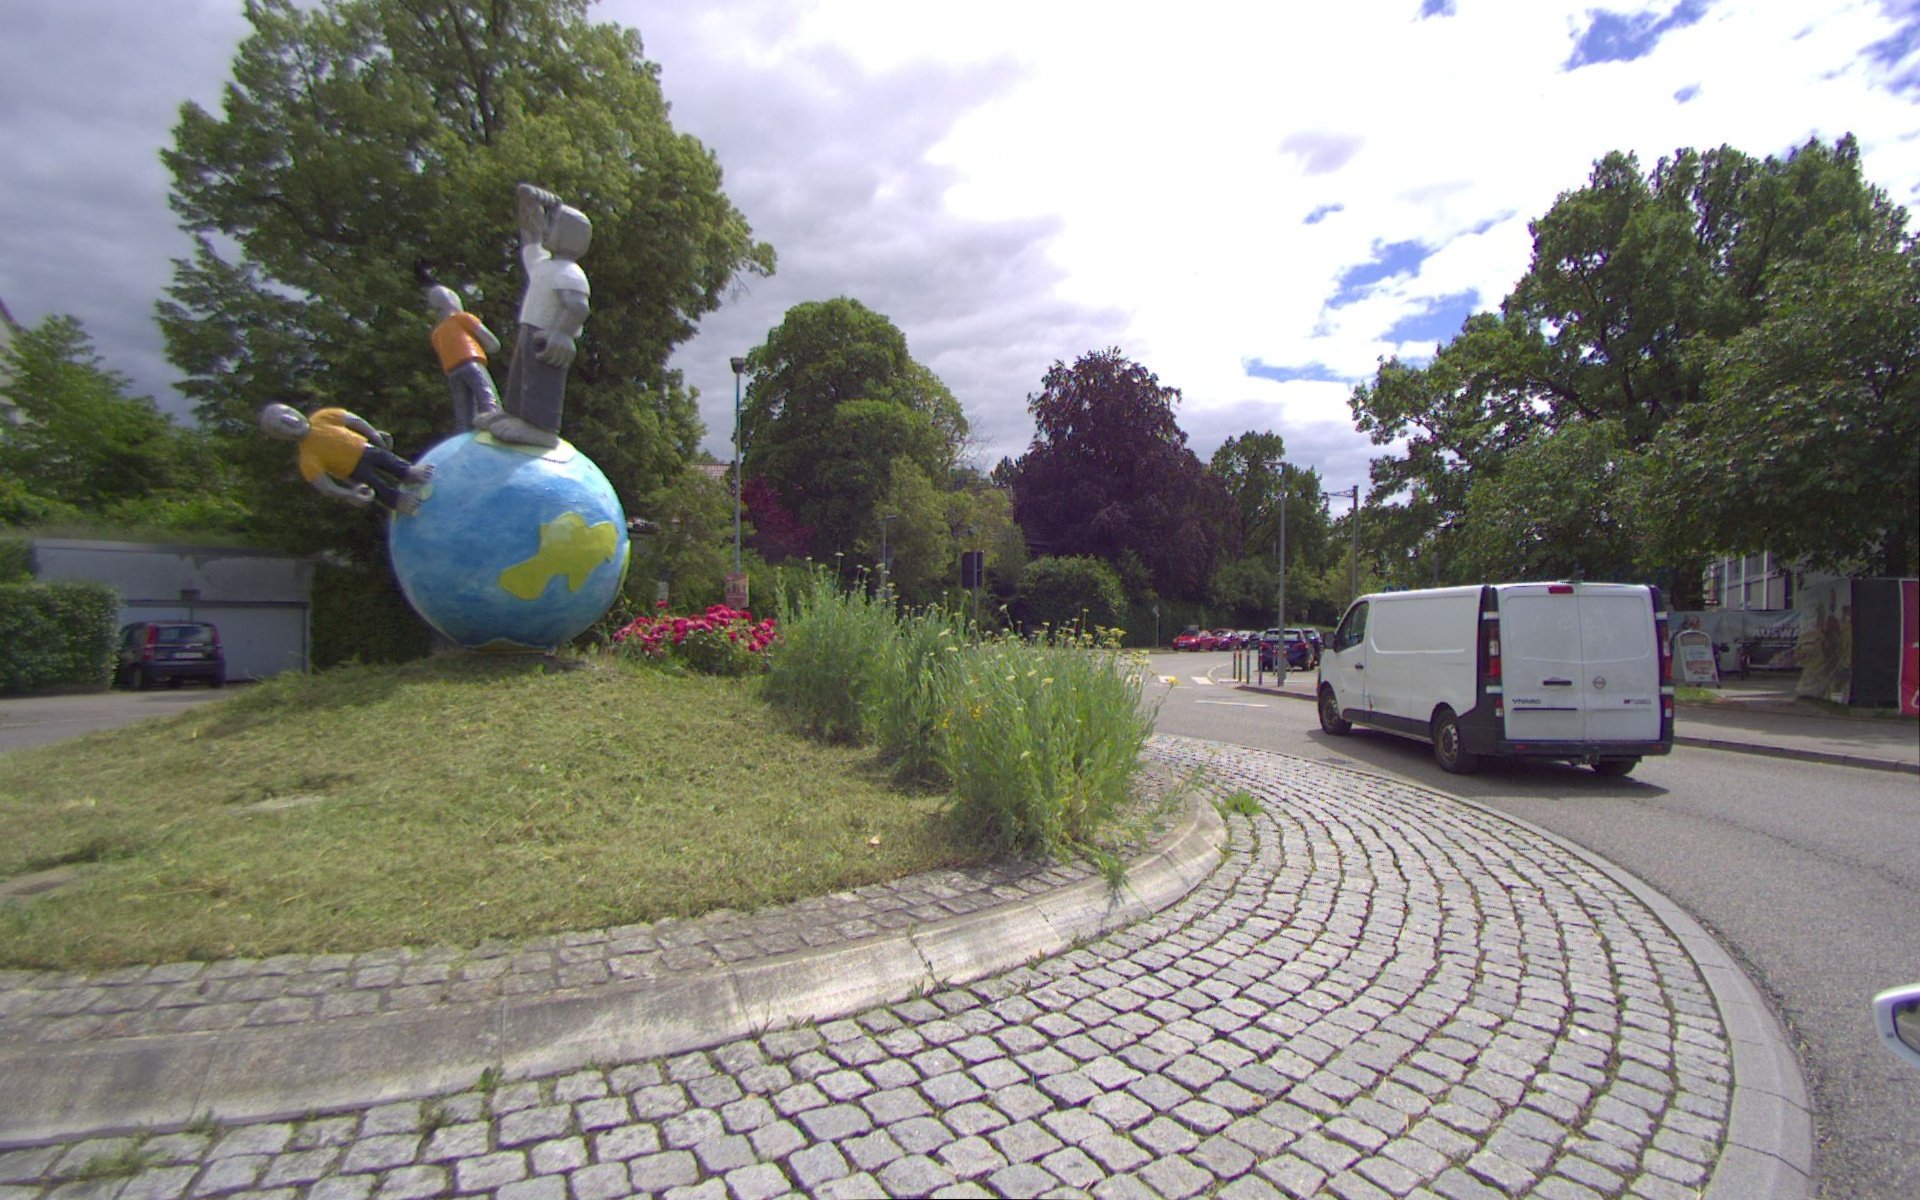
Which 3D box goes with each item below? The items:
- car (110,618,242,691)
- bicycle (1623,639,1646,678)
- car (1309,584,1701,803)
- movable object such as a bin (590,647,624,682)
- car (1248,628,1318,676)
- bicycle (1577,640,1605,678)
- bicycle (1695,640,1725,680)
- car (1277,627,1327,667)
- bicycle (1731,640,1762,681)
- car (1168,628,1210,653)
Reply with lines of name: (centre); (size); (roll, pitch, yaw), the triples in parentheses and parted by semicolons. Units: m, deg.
car: (-17.969, 1.181, 22.959); (1.987, 1.505, 3.948); (1, -2, -44)
bicycle: (20.754, 1.780, 30.914); (0.522, 1.109, 2.065); (2, 1, 34)
car: (5.950, 0.851, 11.877); (2.000, 1.971, 4.994); (2, 1, 2)
movable object such as a bin: (-9.071, 1.643, 25.819); (0.623, 0.874, 0.636); (-2, -2, 44)
car: (12.008, 1.878, 37.202); (1.903, 1.558, 3.920); (1, 0, 26)
bicycle: (19.700, 1.810, 31.391); (0.620, 1.063, 2.067); (2, 1, 30)
bicycle: (22.278, 1.759, 29.862); (0.621, 1.063, 1.962); (2, 1, 35)
car: (15.150, 2.036, 44.407); (1.888, 1.520, 3.923); (1, 0, 22)
bicycle: (22.772, 1.737, 29.105); (0.622, 1.078, 1.961); (3, 1, 37)
car: (15.142, 2.645, 66.329); (2.030, 1.405, 4.045); (1, 0, 23)
